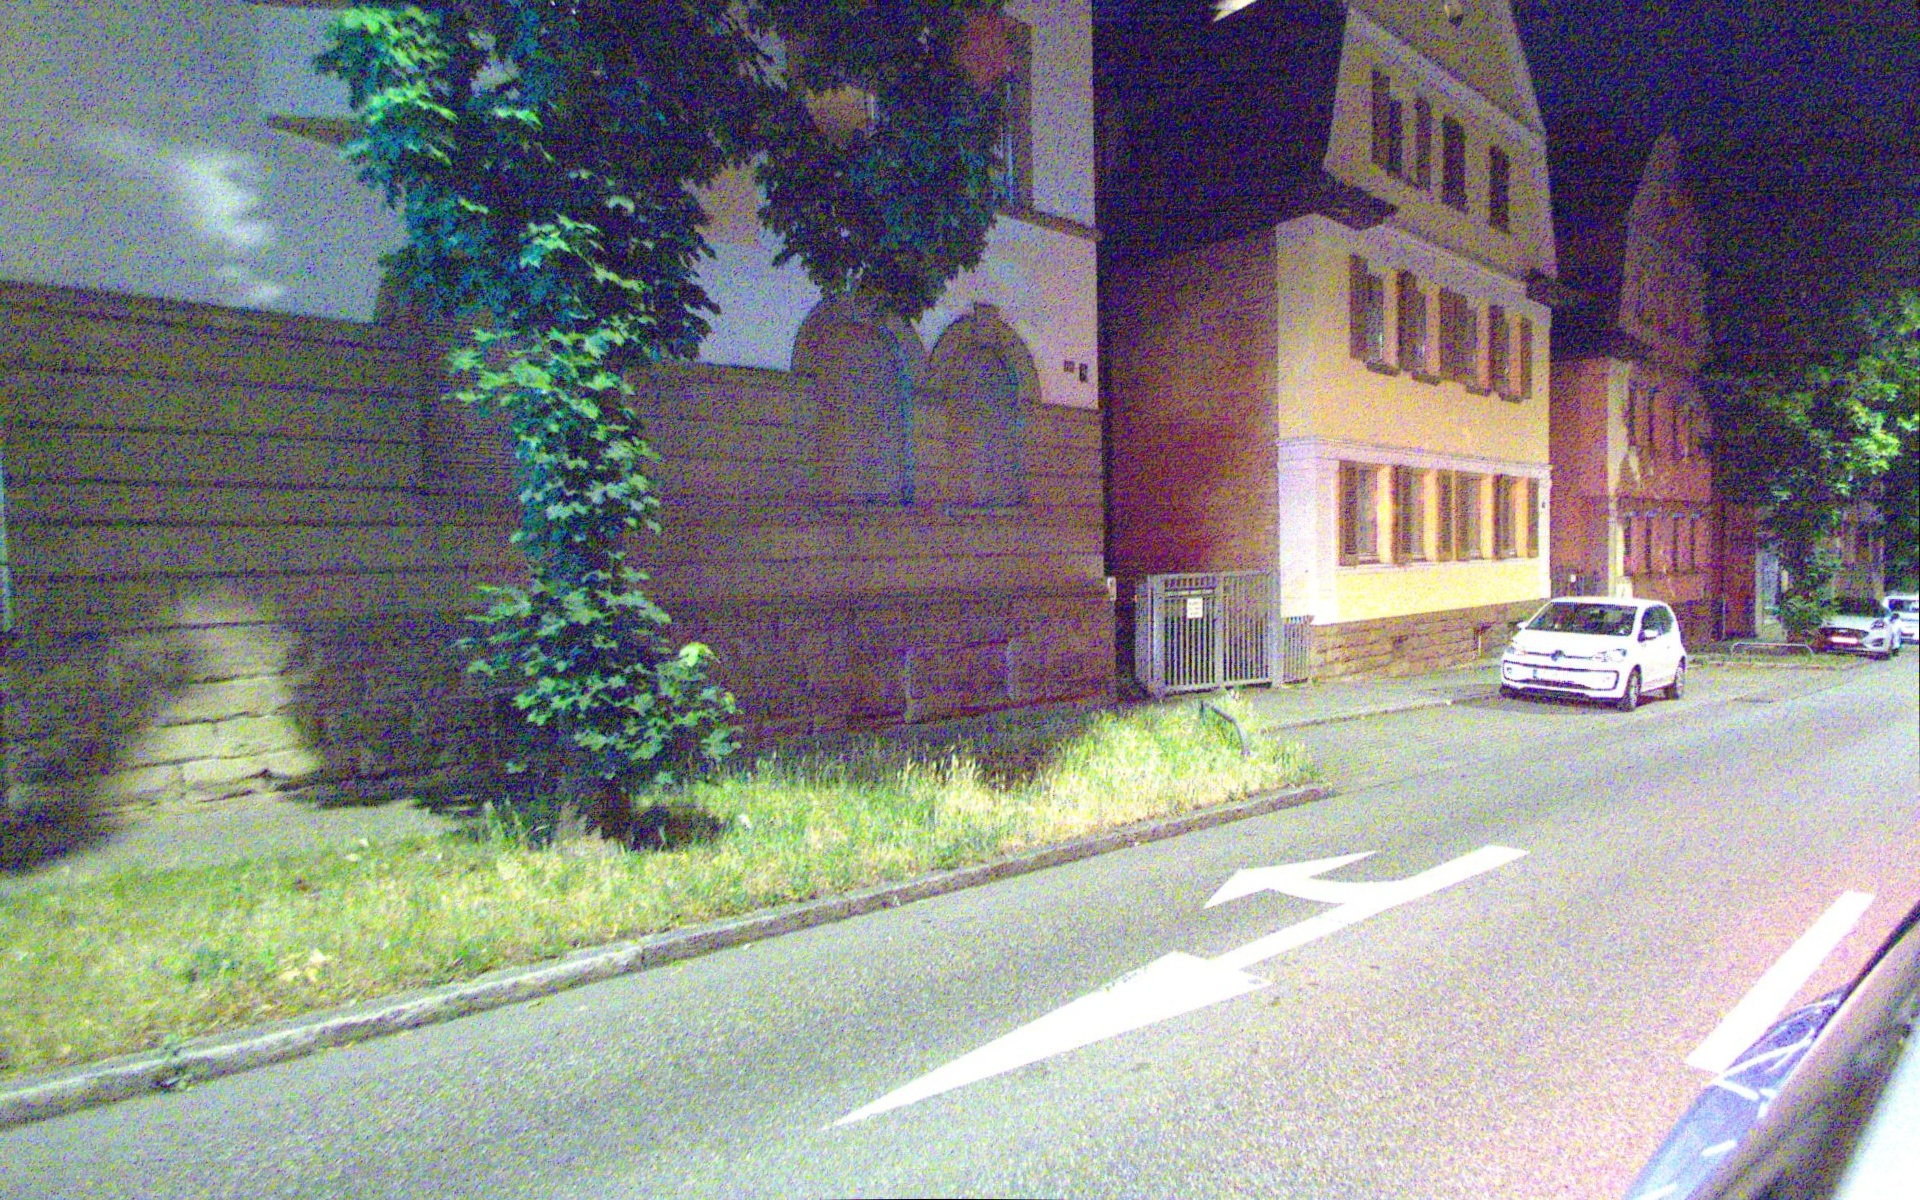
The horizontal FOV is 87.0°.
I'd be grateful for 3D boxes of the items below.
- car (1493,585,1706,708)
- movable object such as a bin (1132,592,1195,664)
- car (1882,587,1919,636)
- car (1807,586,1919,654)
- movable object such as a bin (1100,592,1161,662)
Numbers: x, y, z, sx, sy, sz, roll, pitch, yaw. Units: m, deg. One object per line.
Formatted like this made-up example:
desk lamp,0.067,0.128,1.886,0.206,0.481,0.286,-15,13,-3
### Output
car,9.321,0.577,14.657,3.541,1.503,1.671,0,2,-42
movable object such as a bin,3.097,0.413,15.399,0.742,1.062,0.608,0,0,-41
car,33.787,0.390,35.348,4.281,1.616,1.742,0,3,-40
car,23.804,0.471,26.578,3.977,1.572,1.862,0,3,-43
movable object such as a bin,2.674,0.405,15.878,0.742,1.062,0.608,0,0,-41
